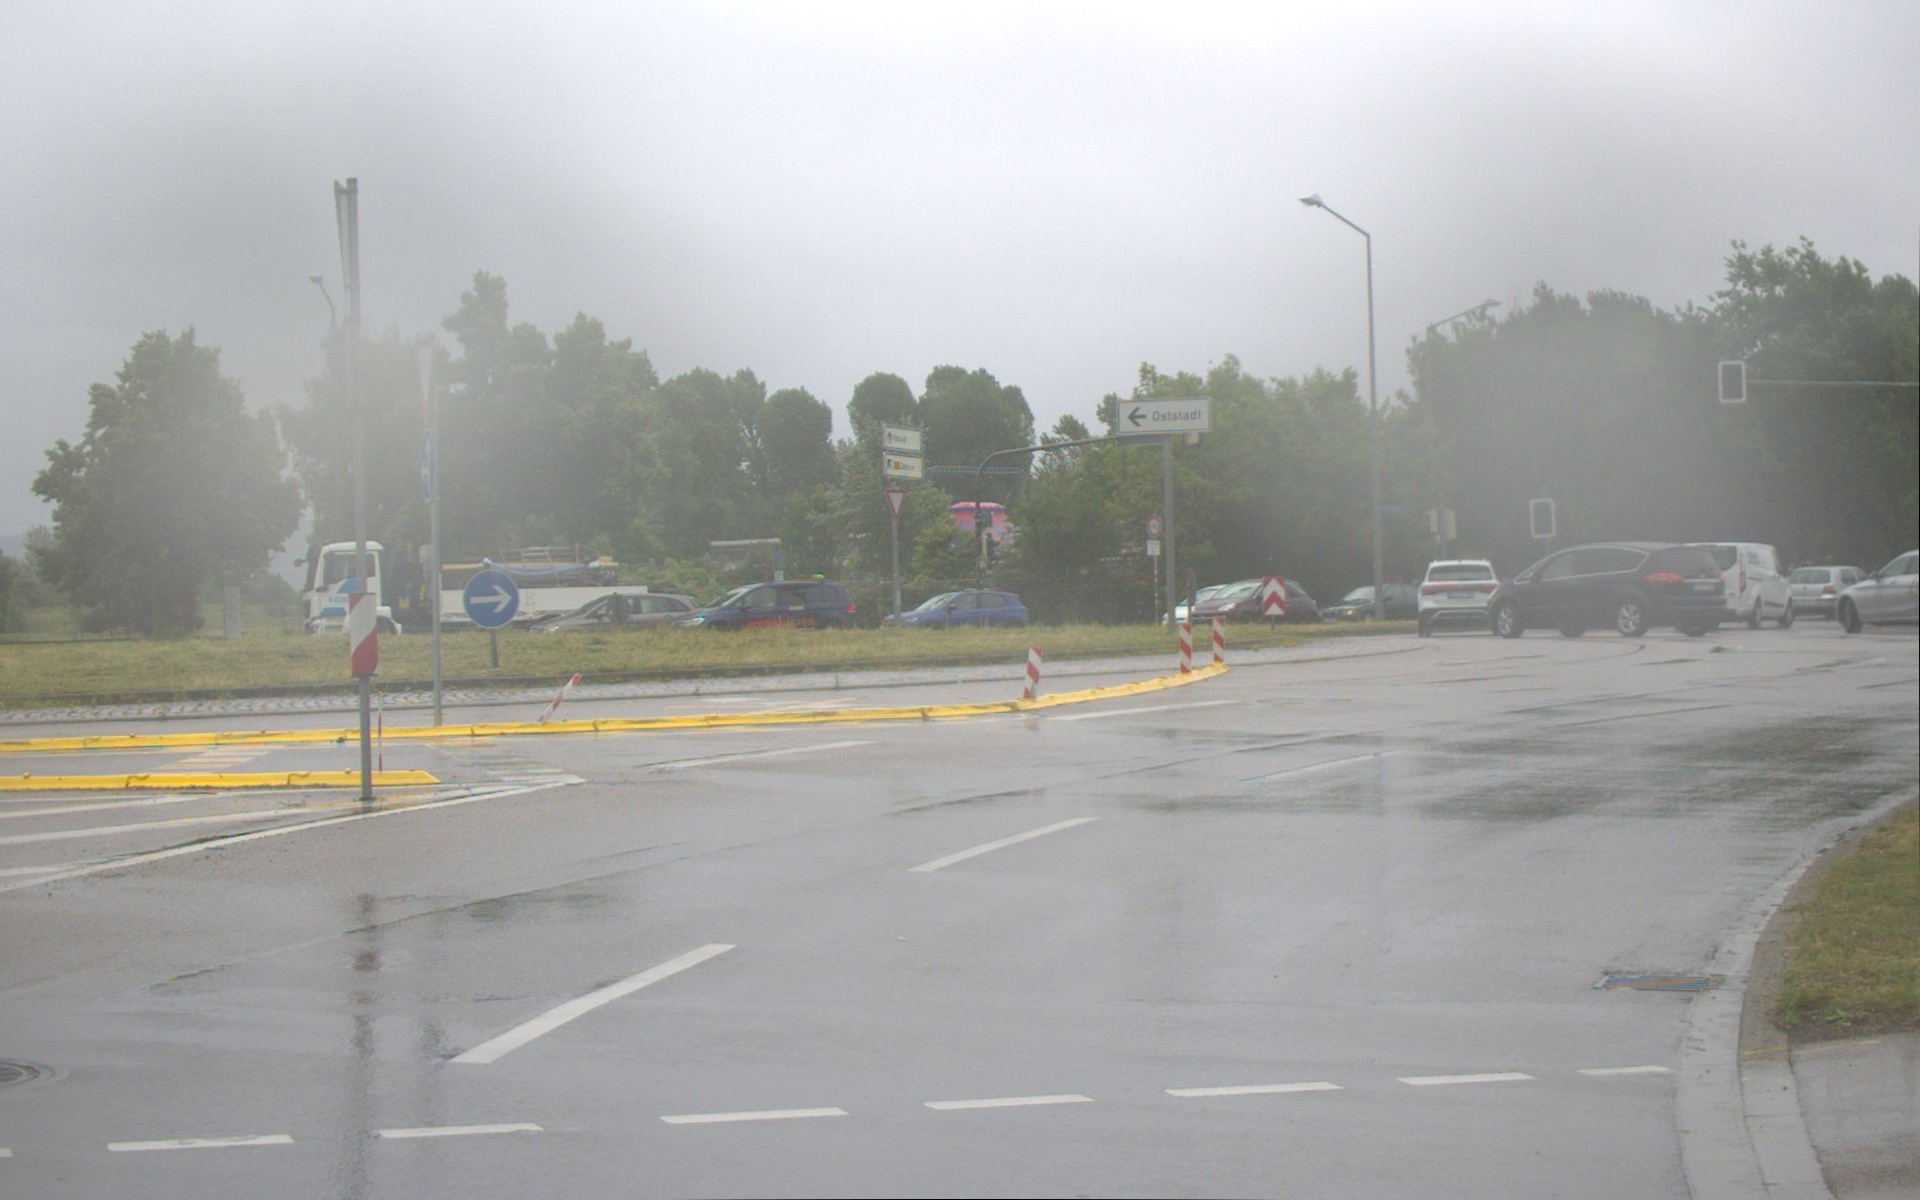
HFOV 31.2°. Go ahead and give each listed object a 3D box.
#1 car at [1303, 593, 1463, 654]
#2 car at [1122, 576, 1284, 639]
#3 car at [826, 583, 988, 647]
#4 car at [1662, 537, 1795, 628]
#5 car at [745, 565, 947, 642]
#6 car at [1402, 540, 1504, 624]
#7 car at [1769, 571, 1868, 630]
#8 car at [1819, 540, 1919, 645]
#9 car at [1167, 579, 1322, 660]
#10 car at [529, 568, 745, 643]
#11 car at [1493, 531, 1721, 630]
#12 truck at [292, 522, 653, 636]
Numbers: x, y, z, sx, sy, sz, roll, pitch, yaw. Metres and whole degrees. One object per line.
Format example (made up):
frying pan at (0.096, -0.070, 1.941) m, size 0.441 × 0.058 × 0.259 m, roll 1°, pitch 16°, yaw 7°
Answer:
car at (11.695, 0.645, 95.037) m, size 3.986 × 1.642 × 1.790 m, roll 1°, pitch 0°, yaw -18°
car at (6.909, 0.217, 97.559) m, size 4.853 × 1.738 × 1.777 m, roll 1°, pitch 0°, yaw -44°
car at (-1.413, 0.386, 91.363) m, size 3.986 × 1.642 × 1.790 m, roll 1°, pitch 0°, yaw -15°
car at (17.686, -0.393, 79.042) m, size 1.786 × 2.029 × 3.993 m, roll 1°, pitch 0°, yaw 31°
car at (-2.638, 0.100, 80.349) m, size 1.776 × 1.738 × 4.853 m, roll 1°, pitch 0°, yaw 43°
car at (10.099, -0.362, 70.595) m, size 1.681 × 1.642 × 3.947 m, roll 1°, pitch 0°, yaw 3°
car at (23.025, 0.014, 92.123) m, size 1.691 × 1.487 × 3.245 m, roll -1°, pitch 1°, yaw 31°
car at (17.025, -0.118, 60.121) m, size 1.783 × 1.804 × 4.839 m, roll 1°, pitch 0°, yaw -14°
car at (7.286, 0.507, 87.754) m, size 3.989 × 2.007 × 1.676 m, roll 1°, pitch 0°, yaw -43°
car at (-7.774, 0.135, 82.887) m, size 4.849 × 1.738 × 1.778 m, roll 1°, pitch 0°, yaw -25°
car at (11.171, -0.337, 59.630) m, size 1.783 × 1.642 × 4.001 m, roll 1°, pitch 0°, yaw -27°
truck at (-12.209, -0.501, 86.213) m, size 8.766 × 2.702 × 2.001 m, roll 1°, pitch 0°, yaw -14°
